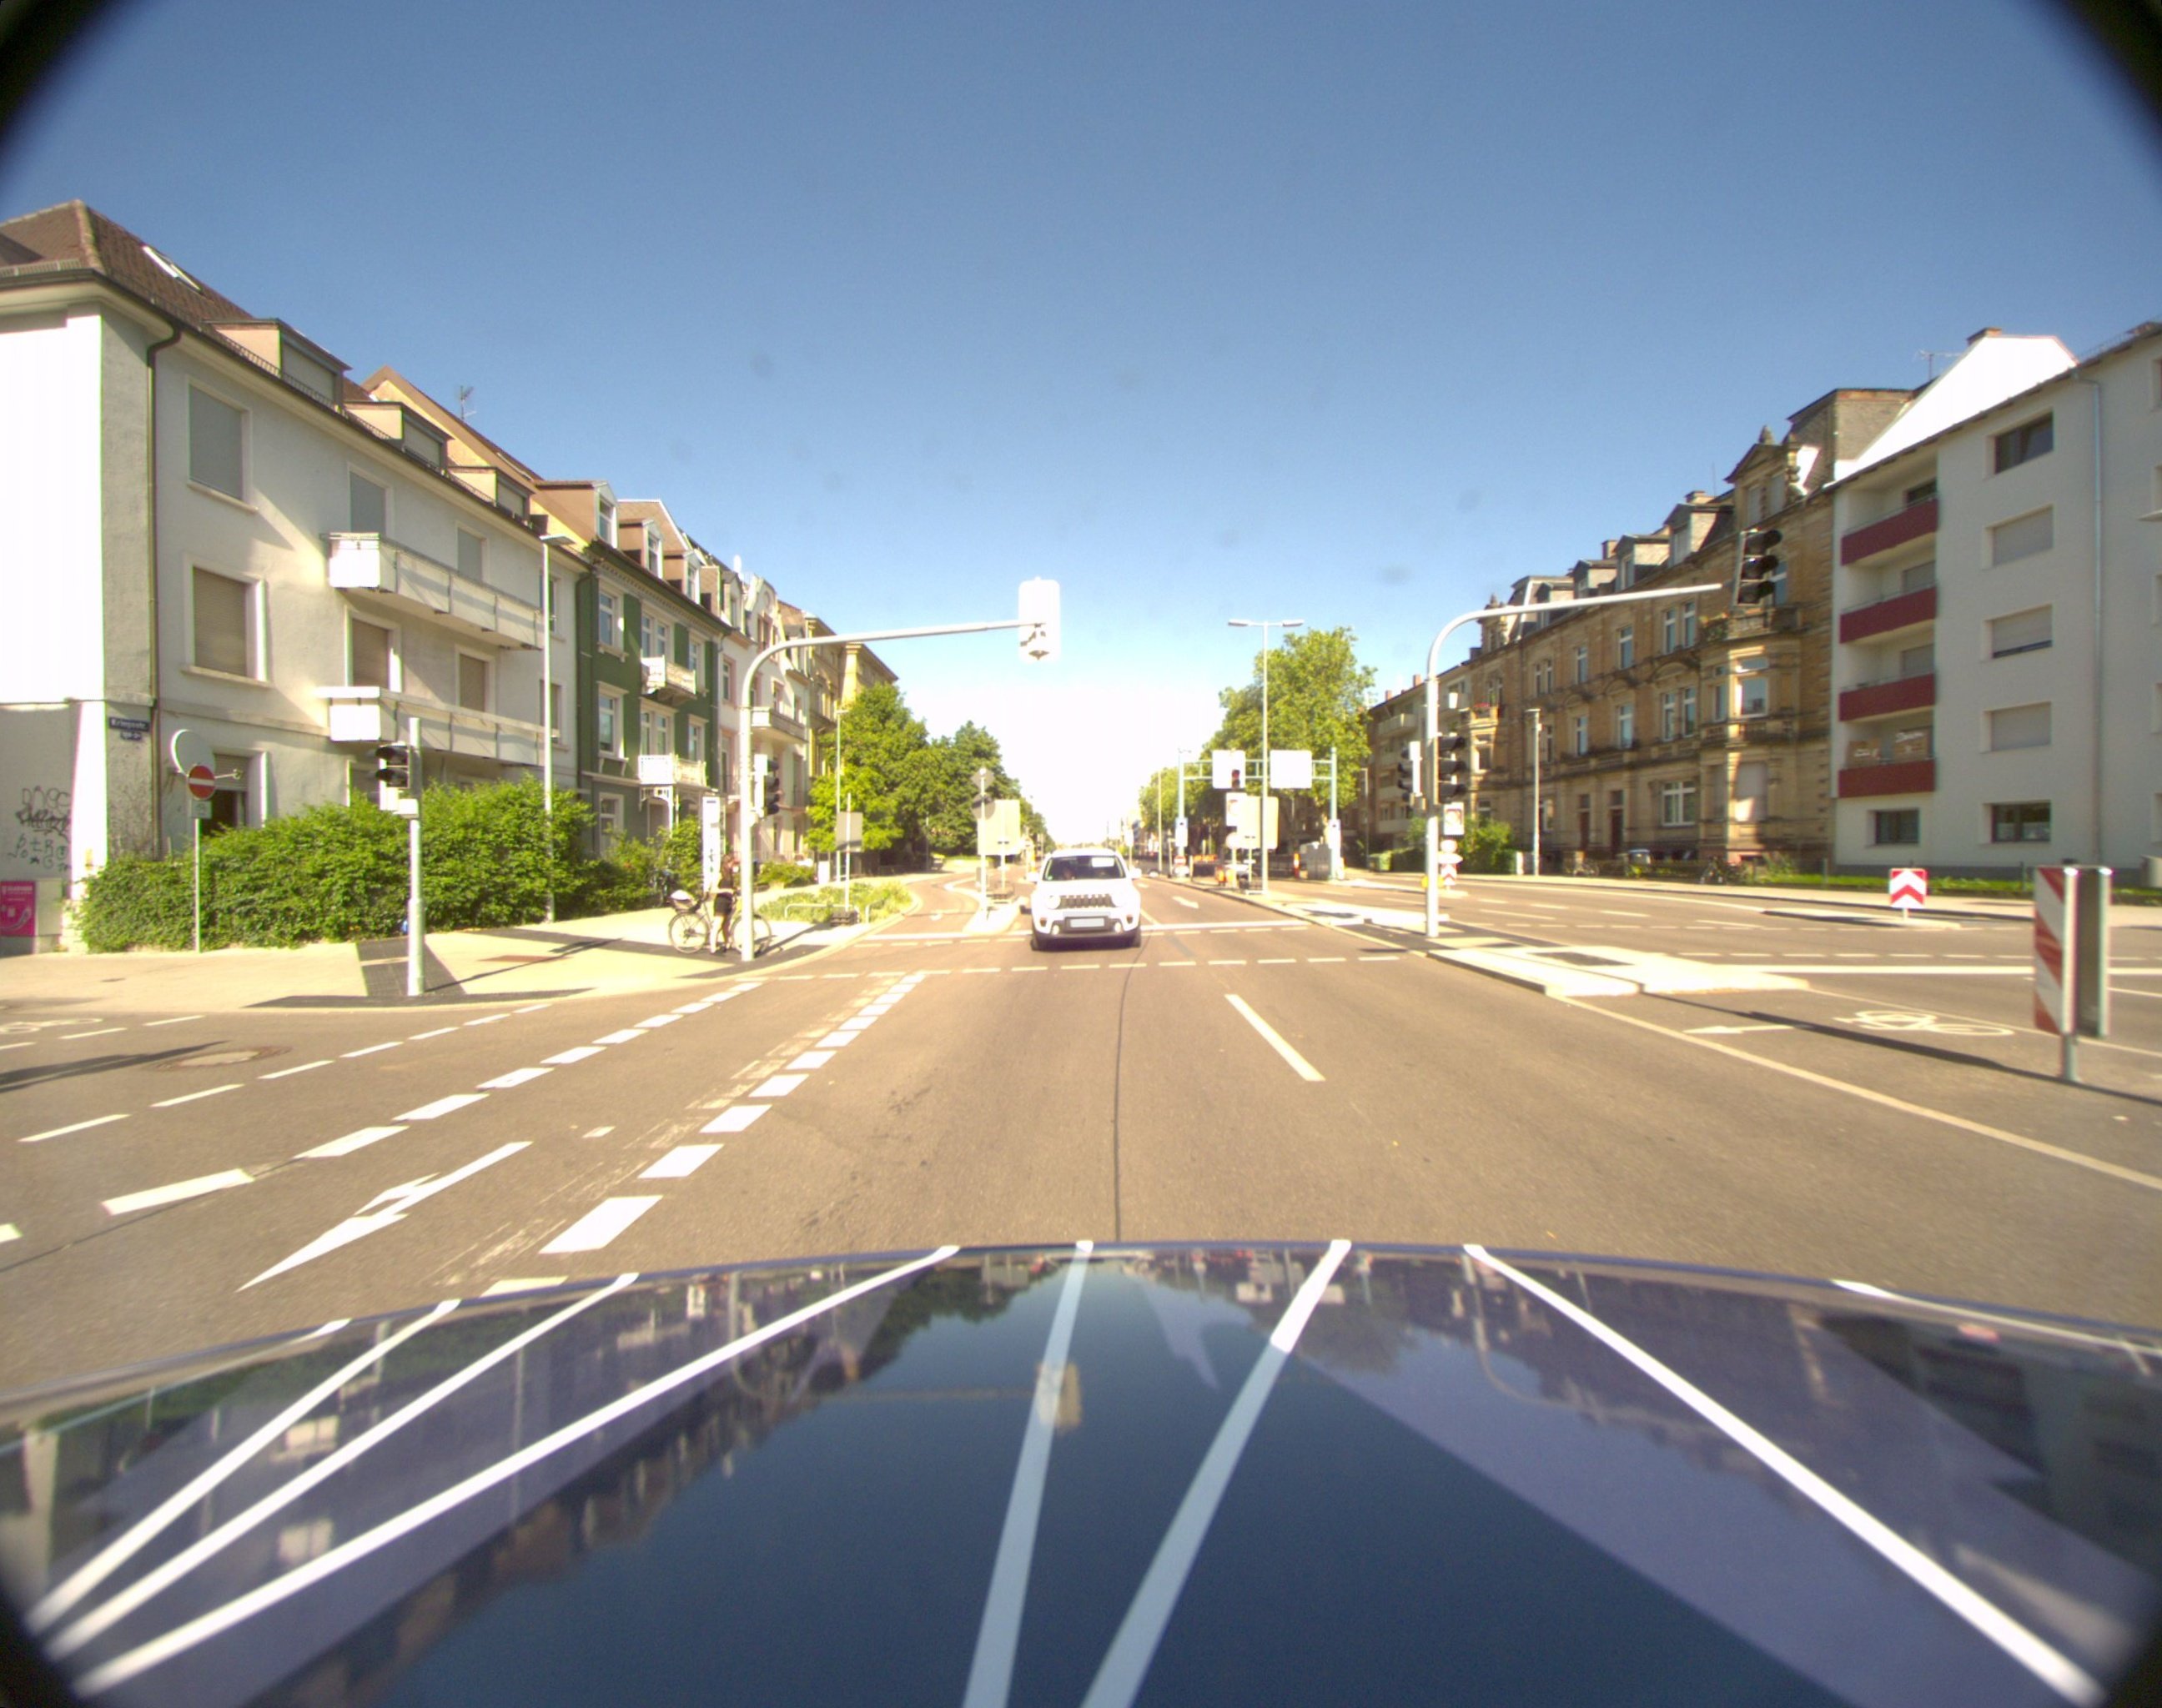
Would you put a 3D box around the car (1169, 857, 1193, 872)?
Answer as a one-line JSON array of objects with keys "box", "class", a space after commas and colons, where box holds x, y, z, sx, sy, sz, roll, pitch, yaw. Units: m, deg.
[{"box": [10.893, 1.135, 83.039, 1.998, 1.444, 4.391, -3, -2, 0], "class": "car"}]

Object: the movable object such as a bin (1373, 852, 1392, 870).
[{"box": [22.934, 0.533, 57.813, 0.895, 1.352, 1.474, 1, -1, 1], "class": "movable object such as a bin"}]

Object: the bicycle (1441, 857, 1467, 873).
[{"box": [23.590, 0.683, 48.074, 0.468, 0.999, 2.250, -2, 0, -2], "class": "bicycle"}]

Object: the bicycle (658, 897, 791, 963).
[{"box": [-6.118, 1.299, 13.090, 1.967, 1.019, 0.605, -2, 0, -1], "class": "bicycle"}]

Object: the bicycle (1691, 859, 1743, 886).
[{"box": [23.813, 0.675, 28.485, 0.305, 0.952, 1.940, 0, 0, 0], "class": "bicycle"}]

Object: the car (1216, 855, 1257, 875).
[{"box": [11.029, 0.802, 54.270, 1.936, 1.337, 4.316, 0, -1, -2], "class": "car"}]

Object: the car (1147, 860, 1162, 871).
[{"box": [10.759, 1.648, 111.691, 1.611, 1.432, 4.310, 2, 0, 0], "class": "car"}]

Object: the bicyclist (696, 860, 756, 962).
[{"box": [-6.068, 0.950, 13.032, 0.605, 1.698, 0.858, 0, 0, 0], "class": "bicyclist"}]

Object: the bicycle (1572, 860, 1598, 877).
[{"box": [23.814, 0.669, 35.889, 0.299, 0.766, 1.414, 0, 0, 0], "class": "bicycle"}]

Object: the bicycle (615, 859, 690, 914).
[{"box": [-12.044, 0.882, 21.464, 0.710, 1.435, 2.491, -2, 0, -1], "class": "bicycle"}]

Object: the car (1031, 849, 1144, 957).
[{"box": [0.073, 0.797, 13.697, 1.744, 1.647, 3.690, -1, -1, -1], "class": "car"}]

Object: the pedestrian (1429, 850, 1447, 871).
[{"box": [23.006, 0.424, 48.957, 0.568, 1.369, 1.090, -1, 0, -2], "class": "pedestrian"}]

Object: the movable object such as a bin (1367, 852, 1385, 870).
[{"box": [22.994, 0.548, 59.206, 0.895, 1.354, 1.314, 1, -1, -1], "class": "movable object such as a bin"}]

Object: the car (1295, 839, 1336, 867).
[{"box": [21.843, -0.051, 71.059, 2.250, 2.431, 5.288, 1, -1, 1], "class": "car"}]

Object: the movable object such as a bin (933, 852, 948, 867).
[{"box": [-12.709, 0.498, 68.742, 0.975, 1.389, 1.285, 2, -1, -23], "class": "movable object such as a bin"}]
